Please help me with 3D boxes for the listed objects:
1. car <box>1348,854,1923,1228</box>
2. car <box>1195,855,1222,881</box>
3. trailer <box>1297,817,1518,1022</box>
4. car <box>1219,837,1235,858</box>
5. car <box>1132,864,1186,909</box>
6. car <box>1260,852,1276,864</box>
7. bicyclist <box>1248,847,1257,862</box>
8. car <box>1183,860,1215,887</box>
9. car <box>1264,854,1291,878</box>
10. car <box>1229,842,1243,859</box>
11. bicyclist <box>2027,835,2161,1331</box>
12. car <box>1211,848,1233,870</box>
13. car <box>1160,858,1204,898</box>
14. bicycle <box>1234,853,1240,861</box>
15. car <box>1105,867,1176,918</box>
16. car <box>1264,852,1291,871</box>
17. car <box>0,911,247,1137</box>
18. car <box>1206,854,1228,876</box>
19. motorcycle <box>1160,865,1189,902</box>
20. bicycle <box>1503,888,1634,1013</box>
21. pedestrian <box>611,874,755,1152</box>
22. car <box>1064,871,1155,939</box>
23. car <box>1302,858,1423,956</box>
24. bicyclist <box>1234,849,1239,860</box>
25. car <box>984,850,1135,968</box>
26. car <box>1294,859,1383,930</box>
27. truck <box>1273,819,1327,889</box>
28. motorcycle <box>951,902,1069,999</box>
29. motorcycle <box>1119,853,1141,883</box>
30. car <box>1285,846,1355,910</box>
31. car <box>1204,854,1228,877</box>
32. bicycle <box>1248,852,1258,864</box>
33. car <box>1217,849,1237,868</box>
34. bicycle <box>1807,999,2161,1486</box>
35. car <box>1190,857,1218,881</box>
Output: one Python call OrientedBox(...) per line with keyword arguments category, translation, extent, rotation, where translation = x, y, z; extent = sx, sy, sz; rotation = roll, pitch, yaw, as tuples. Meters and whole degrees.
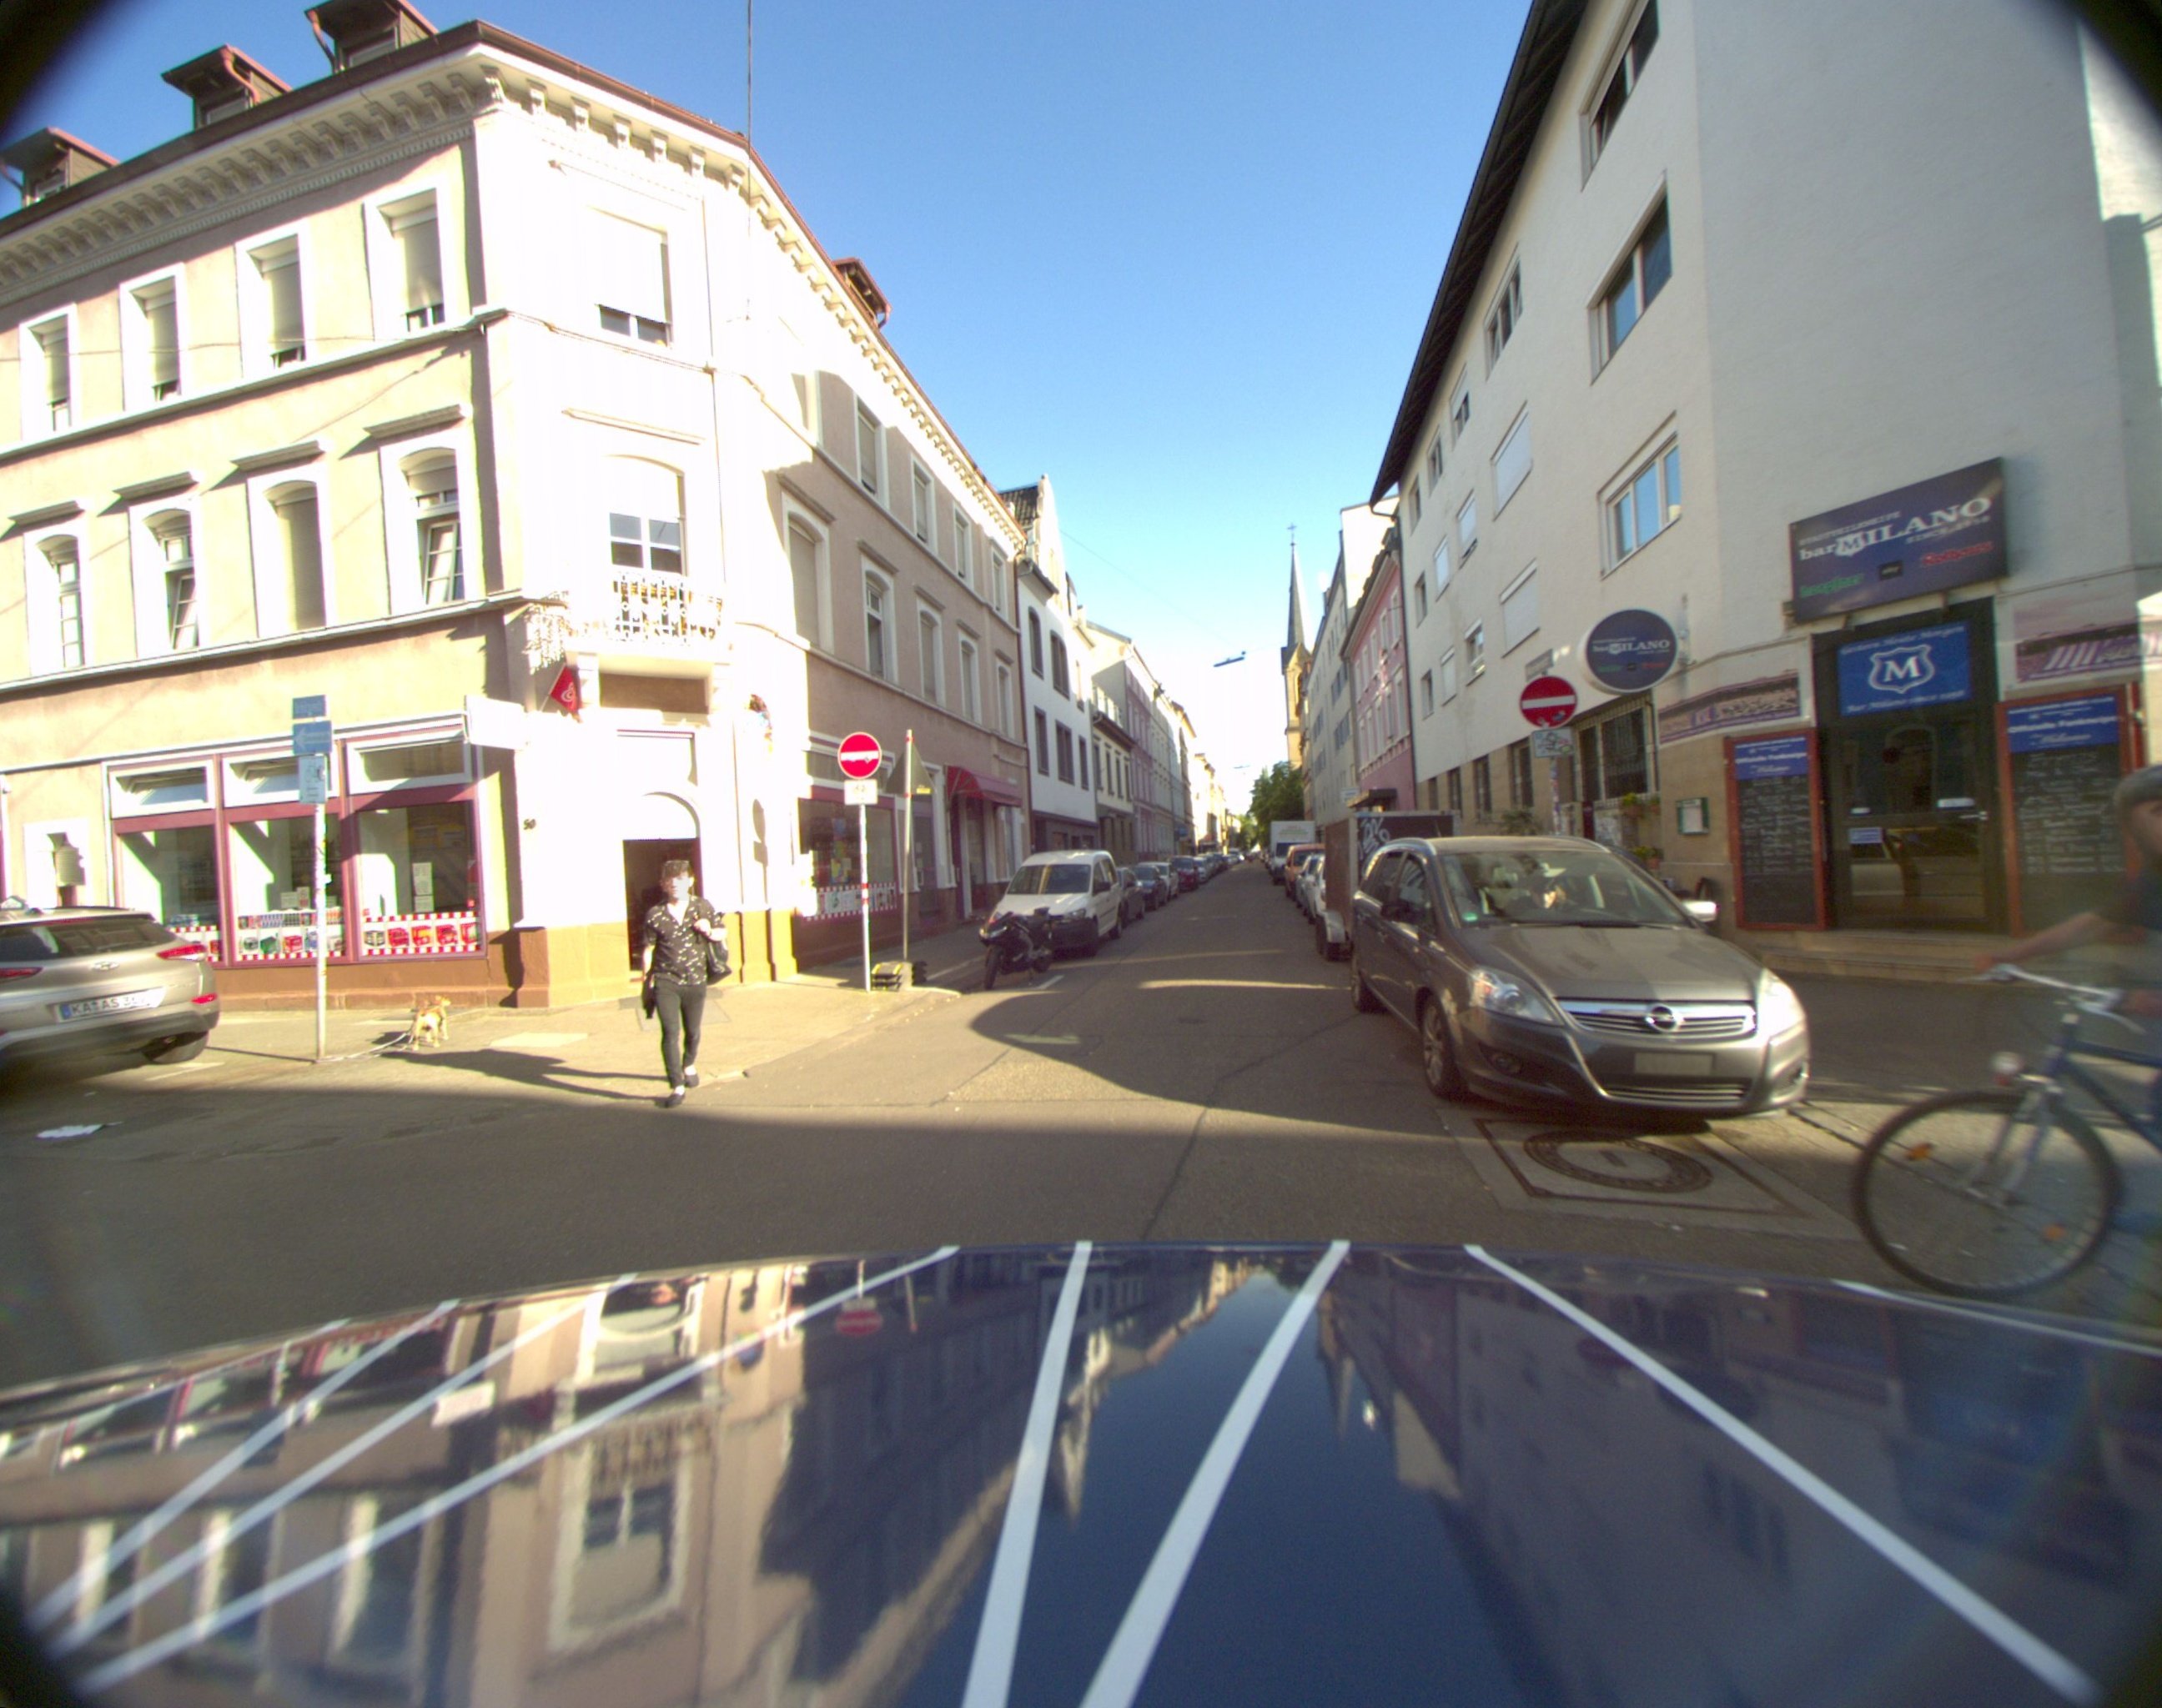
OrientedBox(category="car", translation=(3.154, 0.829, 5.465), extent=(1.725, 1.596, 4.170), rotation=(-2, 0, 11))
OrientedBox(category="car", translation=(9.539, 1.001, 56.479), extent=(1.712, 1.721, 4.224), rotation=(-2, 1, 13))
OrientedBox(category="trailer", translation=(3.906, 0.644, 9.847), extent=(1.664, 2.049, 4.367), rotation=(-2, 1, 10))
OrientedBox(category="car", translation=(20.428, -0.911, 106.344), extent=(1.997, 2.777, 4.567), rotation=(-4, 0, 10))
OrientedBox(category="car", translation=(3.100, 1.217, 29.675), extent=(1.618, 1.495, 3.776), rotation=(-2, 1, 13))
OrientedBox(category="car", translation=(28.251, 0.593, 114.659), extent=(1.925, 1.522, 4.567), rotation=(-4, 0, 10))
OrientedBox(category="bicyclist", translation=(26.990, 0.137, 119.457), extent=(1.019, 2.280, 1.533), rotation=(-4, 0, 8))
OrientedBox(category="car", translation=(7.060, 1.144, 45.270), extent=(1.611, 1.388, 3.885), rotation=(-2, 1, 13))
OrientedBox(category="car", translation=(14.174, 0.855, 54.936), extent=(1.685, 1.482, 3.917), rotation=(-3, 0, 13))
OrientedBox(category="car", translation=(26.847, -0.642, 131.658), extent=(1.997, 2.777, 4.567), rotation=(-4, 0, 10))
OrientedBox(category="bicyclist", translation=(3.461, 0.651, 2.063), extent=(0.788, 1.427, 0.711), rotation=(-5, 0, 18))
OrientedBox(category="car", translation=(14.253, 0.458, 76.785), extent=(1.997, 2.002, 4.567), rotation=(-4, 0, 11))
OrientedBox(category="car", translation=(5.043, 1.139, 37.462), extent=(1.712, 1.721, 4.411), rotation=(-2, 1, 13))
OrientedBox(category="bicycle", translation=(23.757, 0.449, 115.847), extent=(0.728, 1.173, 2.490), rotation=(-4, 0, 11))
OrientedBox(category="car", translation=(2.048, 1.224, 25.111), extent=(1.734, 1.388, 3.885), rotation=(-2, 1, 13))
OrientedBox(category="car", translation=(18.359, 0.648, 71.149), extent=(1.925, 1.522, 4.567), rotation=(-4, 0, 10))
OrientedBox(category="car", translation=(-10.462, 1.535, 7.021), extent=(4.065, 1.623, 1.857), rotation=(-4, 2, 14))
OrientedBox(category="car", translation=(12.265, 0.974, 68.248), extent=(1.712, 1.802, 4.224), rotation=(-2, 1, 13))
OrientedBox(category="motorcycle", translation=(4.142, 1.283, 33.491), extent=(0.989, 1.481, 2.269), rotation=(-2, 1, 13))
OrientedBox(category="bicycle", translation=(5.238, 0.990, 8.261), extent=(0.577, 1.132, 1.462), rotation=(-4, 0, 8))
OrientedBox(category="pedestrian", translation=(-2.935, 1.067, 5.626), extent=(0.829, 1.782, 0.987), rotation=(-1, 1, -29))
OrientedBox(category="car", translation=(0.829, 1.243, 19.556), extent=(1.611, 1.400, 3.885), rotation=(-2, 1, 13))
OrientedBox(category="car", translation=(5.284, 0.913, 14.702), extent=(1.679, 1.546, 3.821), rotation=(-2, 1, 13))
OrientedBox(category="bicyclist", translation=(23.733, 0.052, 115.865), extent=(0.715, 1.649, 0.877), rotation=(-4, 0, 11))
OrientedBox(category="car", translation=(-0.207, 0.882, 14.255), extent=(1.751, 1.806, 4.373), rotation=(-2, 1, 13))
OrientedBox(category="car", translation=(6.509, 0.944, 19.598), extent=(1.676, 1.488, 4.534), rotation=(-2, 1, 13))
OrientedBox(category="truck", translation=(11.087, -0.038, 38.883), extent=(2.294, 3.165, 7.051), rotation=(-2, 1, 14))
OrientedBox(category="motorcycle", translation=(-0.949, 1.314, 10.791), extent=(0.719, 1.080, 1.999), rotation=(-4, 0, 24))
OrientedBox(category="motorcycle", translation=(2.473, 0.707, 38.067), extent=(0.666, 1.388, 2.039), rotation=(-4, 0, 13))
OrientedBox(category="car", translation=(7.720, 0.701, 24.871), extent=(1.805, 1.834, 4.247), rotation=(-2, 1, 13))
OrientedBox(category="car", translation=(11.246, 0.910, 63.095), extent=(1.712, 1.721, 4.224), rotation=(-2, 1, 13))
OrientedBox(category="bicycle", translation=(27.041, 0.602, 119.486), extent=(1.019, 1.641, 3.550), rotation=(-4, 0, 8))
OrientedBox(category="car", translation=(17.077, 0.549, 89.155), extent=(1.997, 2.002, 4.567), rotation=(-4, 0, 10))
OrientedBox(category="bicycle", translation=(3.459, 1.019, 2.096), extent=(1.931, 1.105, 0.711), rotation=(-5, 0, 18))
OrientedBox(category="car", translation=(8.382, 0.994, 51.570), extent=(1.611, 1.444, 3.885), rotation=(-2, 1, 13))
